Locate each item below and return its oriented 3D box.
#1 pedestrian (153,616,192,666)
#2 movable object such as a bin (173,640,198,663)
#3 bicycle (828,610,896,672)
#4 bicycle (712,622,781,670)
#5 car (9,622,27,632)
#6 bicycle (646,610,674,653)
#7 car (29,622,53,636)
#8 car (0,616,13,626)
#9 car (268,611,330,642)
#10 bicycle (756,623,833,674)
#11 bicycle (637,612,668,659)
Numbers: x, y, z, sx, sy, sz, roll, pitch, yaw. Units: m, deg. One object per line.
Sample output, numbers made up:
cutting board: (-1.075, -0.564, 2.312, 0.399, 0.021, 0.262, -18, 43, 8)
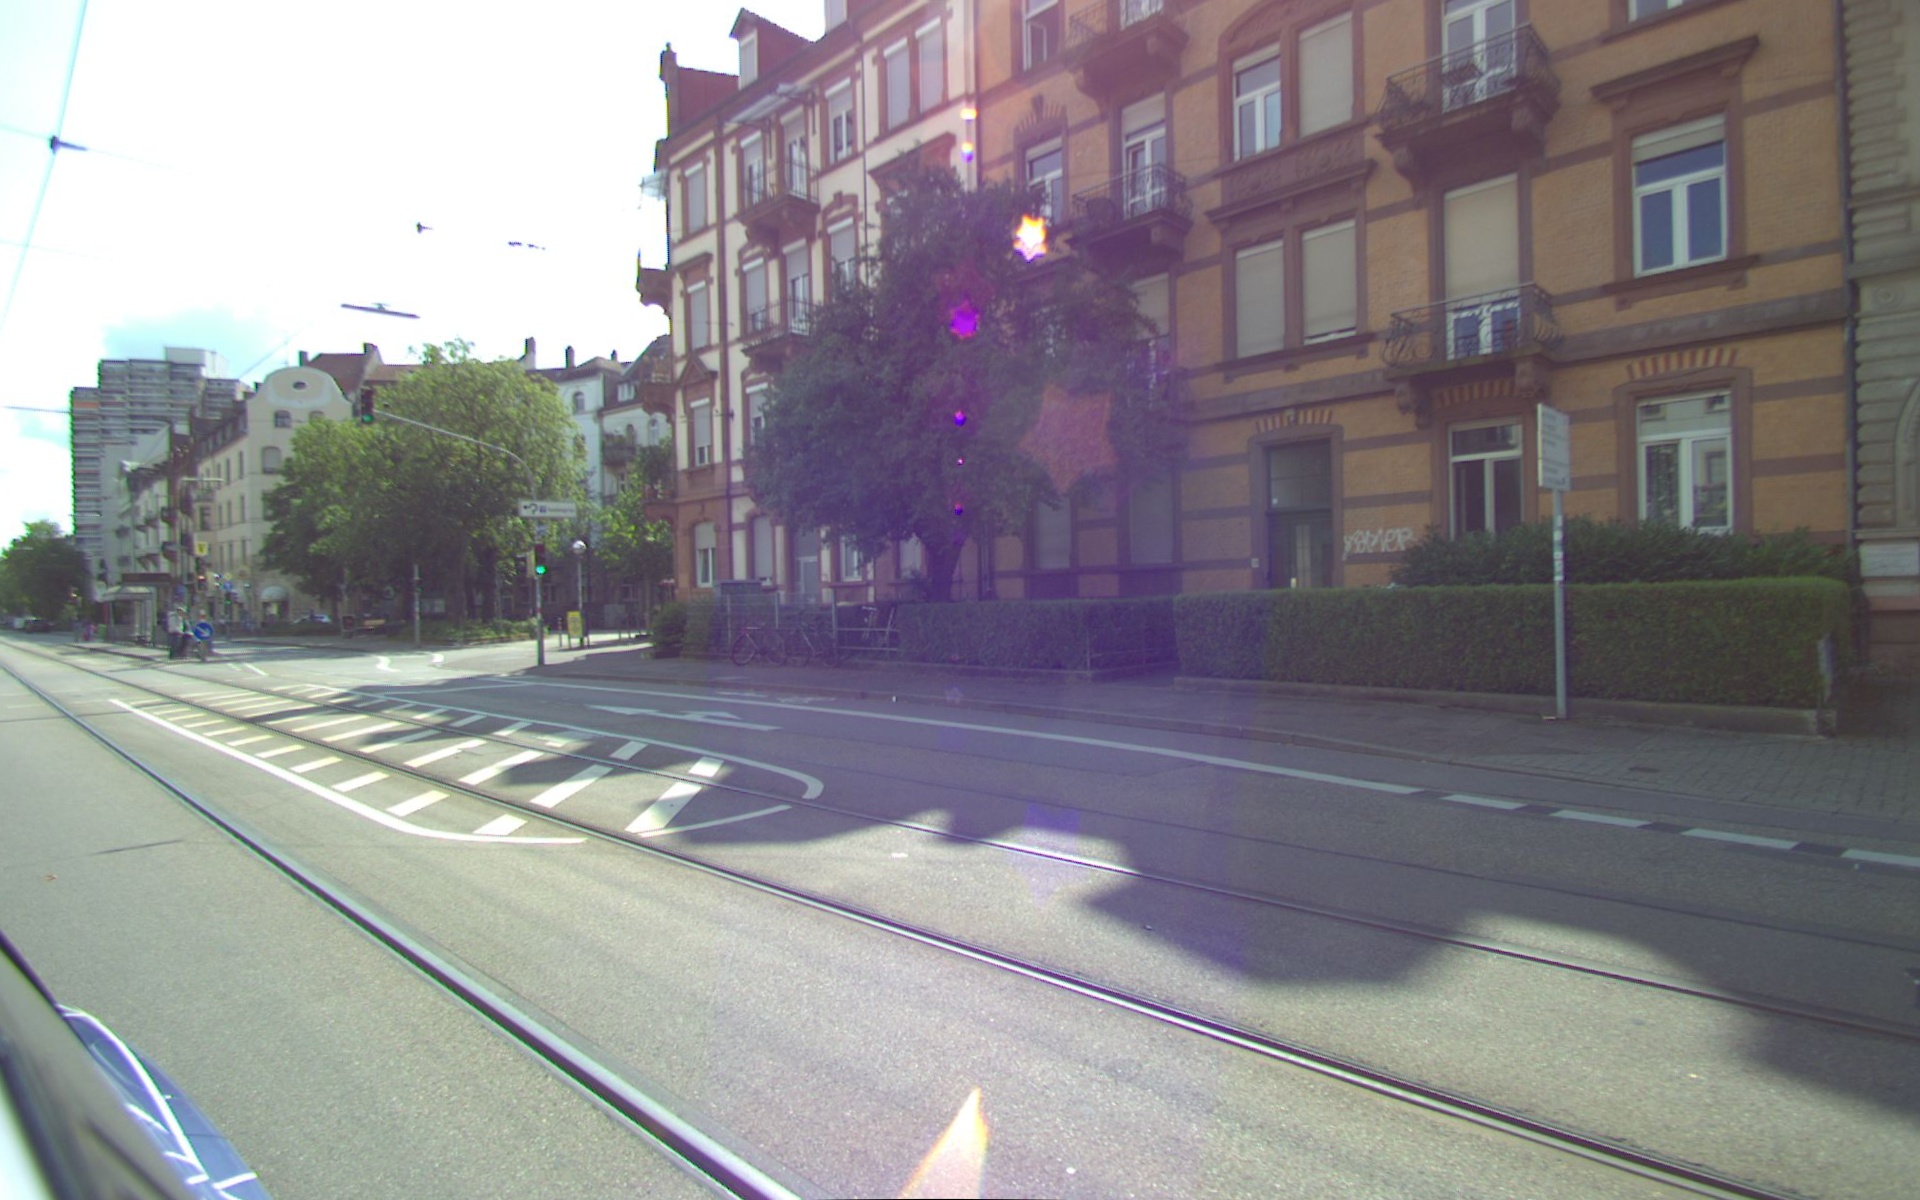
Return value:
pedestrian: (-25.512, 1.317, 32.788, 0.691, 1.586, 0.774, -2, 0, 31)
movable object such as a bin: (-25.753, 1.702, 33.647, 0.456, 0.723, 0.507, -2, 0, 31)
bicycle: (-1.899, 0.784, 19.683, 0.497, 1.139, 1.290, -2, 0, 43)
bicycle: (-4.473, 0.942, 21.136, 0.552, 0.939, 1.827, -1, 0, -43)
car: (-146.765, 4.145, 157.685, 3.893, 1.502, 1.816, -2, 0, 44)
bicycle: (-8.935, 0.919, 30.195, 0.475, 1.234, 1.957, -1, 0, -7)
car: (-107.168, 3.349, 118.008, 3.893, 1.502, 1.816, -2, 0, 44)
car: (-176.818, 3.911, 187.385, 3.893, 1.823, 1.816, -2, 0, 44)
car: (-46.286, 1.835, 70.971, 3.369, 1.866, 1.618, -4, 2, -26)
bicycle: (-3.249, 0.925, 19.780, 0.552, 0.939, 1.827, -1, 0, -43)
bicycle: (-8.497, 0.960, 27.984, 0.475, 1.234, 1.957, -1, 0, -7)
